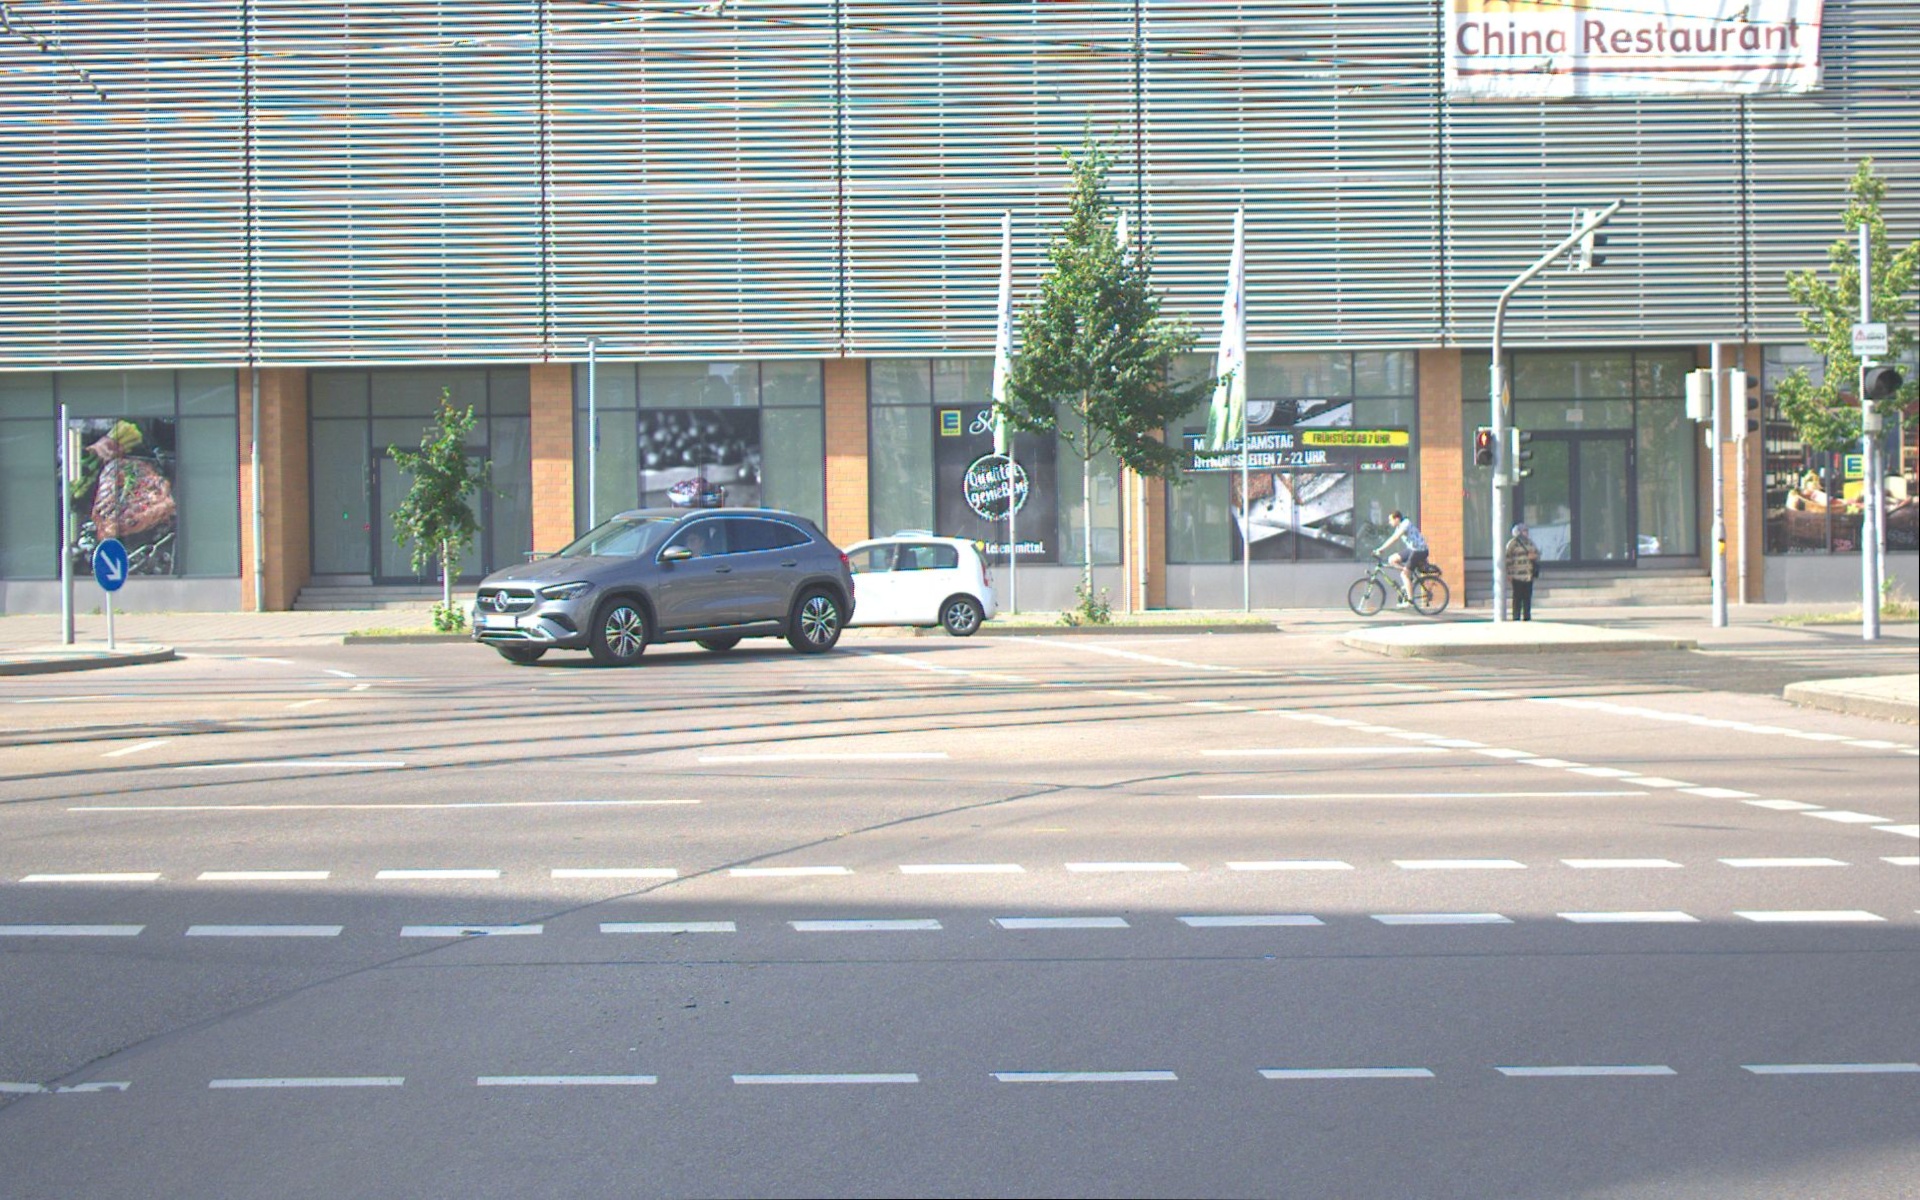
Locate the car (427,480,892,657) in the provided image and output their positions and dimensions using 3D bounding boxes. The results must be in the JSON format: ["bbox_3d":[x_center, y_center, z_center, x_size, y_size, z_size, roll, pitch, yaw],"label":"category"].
[{"bbox_3d":[-3.156,-0.327,36.858,4.802,1.777,1.954,0,1,-44],"label":"car"}]

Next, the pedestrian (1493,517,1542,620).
[{"bbox_3d":[8.658,-0.487,53.440,0.588,1.574,0.764,-1,0,-2],"label":"pedestrian"}]

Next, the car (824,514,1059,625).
[{"bbox_3d":[-0.254,-0.466,50.705,3.391,1.554,1.743,1,1,1],"label":"car"}]

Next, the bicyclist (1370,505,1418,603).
[{"bbox_3d":[7.253,-0.770,57.473,0.712,1.624,0.569,1,0,0],"label":"bicyclist"}]

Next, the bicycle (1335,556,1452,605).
[{"bbox_3d":[7.245,-0.329,57.467,1.862,0.777,0.582,1,0,-2],"label":"bicycle"}]
